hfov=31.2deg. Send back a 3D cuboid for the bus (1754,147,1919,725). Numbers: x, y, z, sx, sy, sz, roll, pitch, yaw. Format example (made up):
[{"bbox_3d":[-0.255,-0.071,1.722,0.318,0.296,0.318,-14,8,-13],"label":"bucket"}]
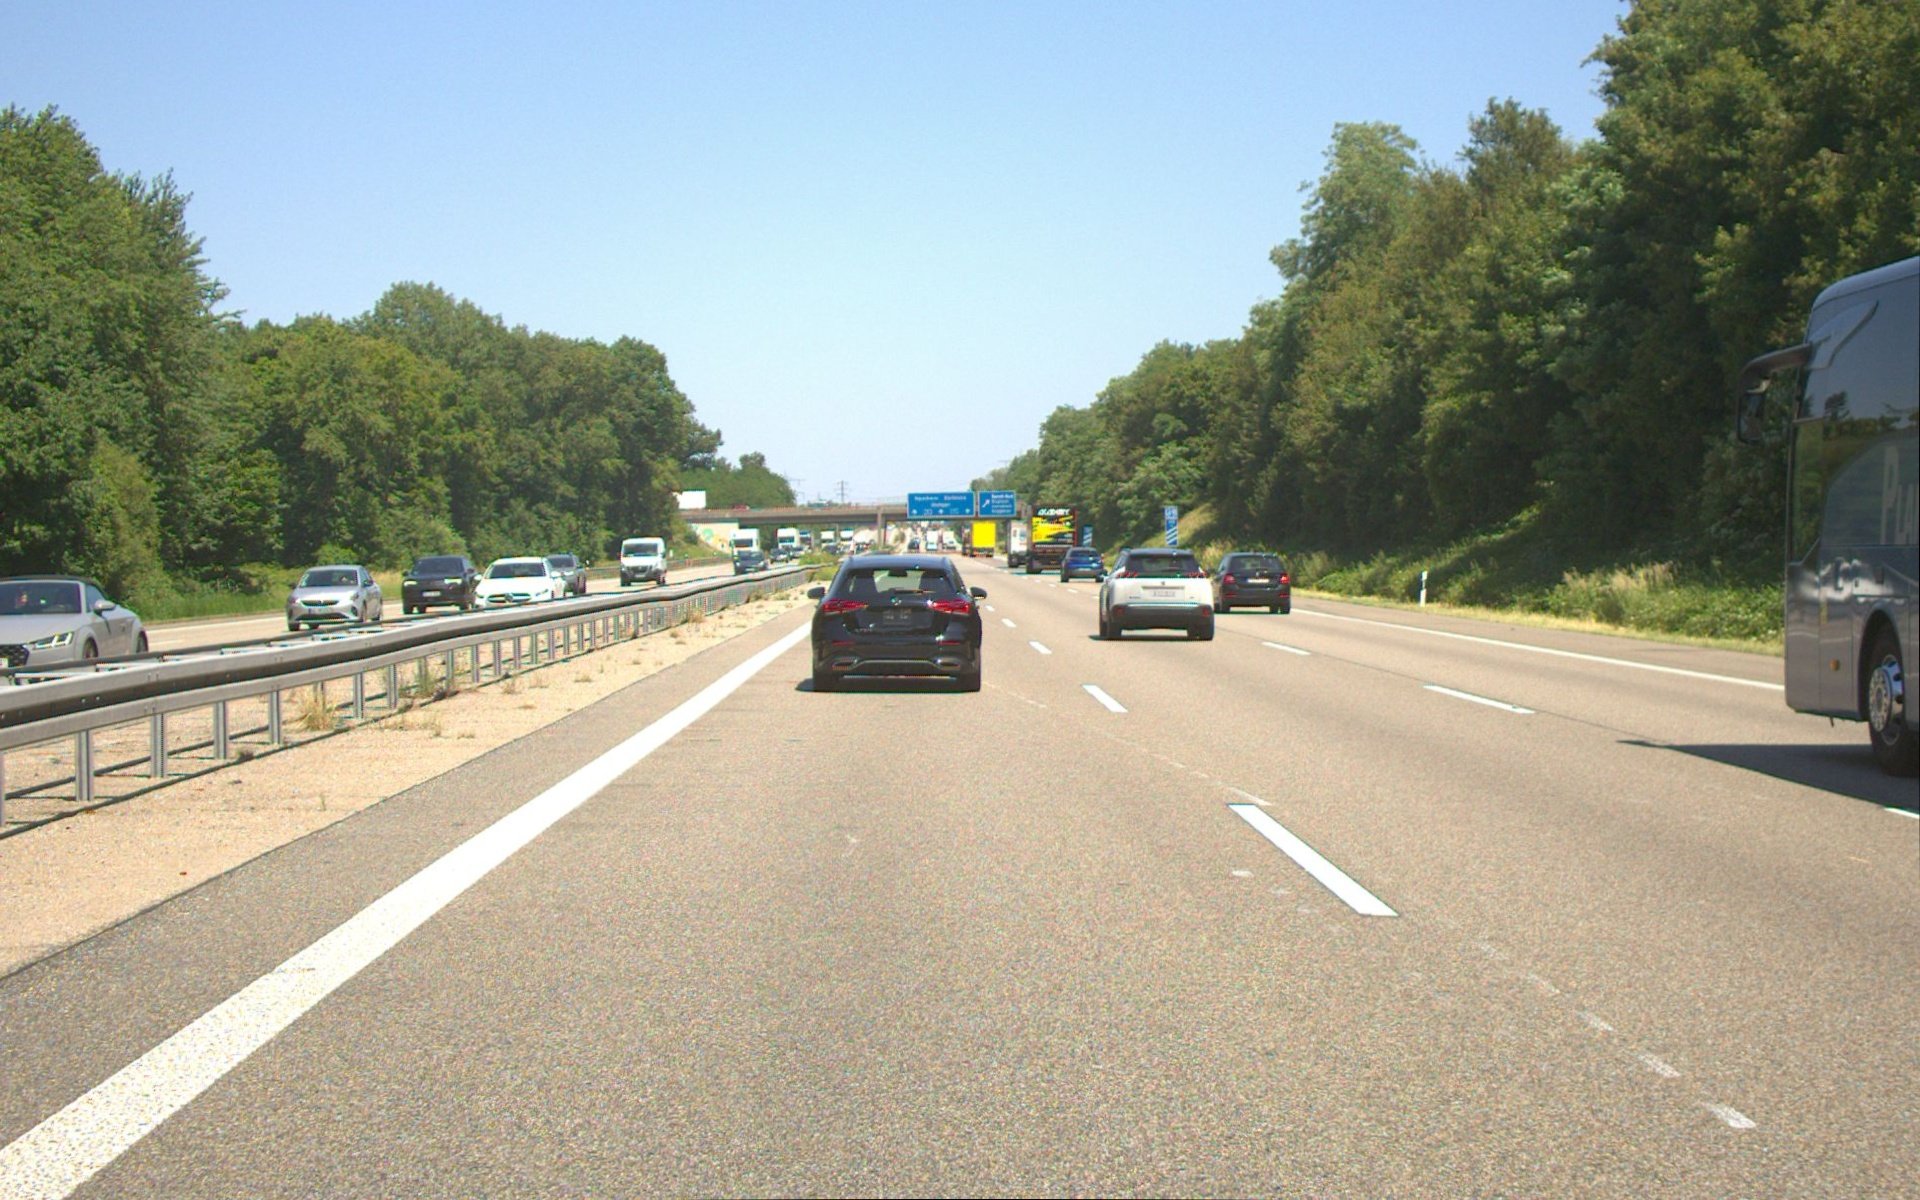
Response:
[{"bbox_3d":[7.366,-0.978,19.278,2.802,3.584,12.475,0,1,-1],"label":"bus"}]

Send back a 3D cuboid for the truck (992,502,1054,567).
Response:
[{"bbox_3d":[4.587,-4.815,253.707,3.647,4.574,17.249,1,1,-2],"label":"truck"}]

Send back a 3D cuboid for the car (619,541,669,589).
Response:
[{"bbox_3d":[-15.631,-1.768,170.105,2.087,2.280,5.277,-1,1,-2],"label":"car"}]

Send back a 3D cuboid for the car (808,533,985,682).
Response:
[{"bbox_3d":[-0.709,0.035,37.223,1.799,1.496,4.242,0,1,-2],"label":"car"}]

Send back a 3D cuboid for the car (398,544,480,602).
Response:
[{"bbox_3d":[-15.416,-0.810,101.905,1.820,1.625,4.799,-1,1,-2],"label":"car"}]

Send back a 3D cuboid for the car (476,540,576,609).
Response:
[{"bbox_3d":[-10.056,-0.624,79.926,1.820,1.518,4.824,-1,1,-2],"label":"car"}]

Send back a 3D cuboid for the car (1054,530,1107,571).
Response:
[{"bbox_3d":[5.414,-2.237,154.601,2.076,1.745,4.242,-1,1,-2],"label":"car"}]

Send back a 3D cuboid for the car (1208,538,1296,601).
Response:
[{"bbox_3d":[6.983,-0.741,82.536,1.789,1.456,3.949,0,1,0],"label":"car"}]

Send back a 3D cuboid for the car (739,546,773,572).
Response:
[{"bbox_3d":[-11.888,-2.398,200.516,1.805,1.475,4.568,-1,1,-2],"label":"car"}]

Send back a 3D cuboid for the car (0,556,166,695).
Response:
[{"bbox_3d":[-10.078,0.248,37.452,1.838,1.378,4.428,-2,1,-1],"label":"car"}]

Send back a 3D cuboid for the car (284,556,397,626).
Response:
[{"bbox_3d":[-14.196,-0.231,78.995,1.820,1.518,4.824,-1,1,-2],"label":"car"}]

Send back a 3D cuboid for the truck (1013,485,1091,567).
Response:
[{"bbox_3d":[5.303,-4.296,202.454,3.647,4.574,15.768,1,1,-2],"label":"truck"}]

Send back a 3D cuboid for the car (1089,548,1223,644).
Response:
[{"bbox_3d":[3.283,-0.097,58.359,1.899,1.527,4.242,0,1,-2],"label":"car"}]
